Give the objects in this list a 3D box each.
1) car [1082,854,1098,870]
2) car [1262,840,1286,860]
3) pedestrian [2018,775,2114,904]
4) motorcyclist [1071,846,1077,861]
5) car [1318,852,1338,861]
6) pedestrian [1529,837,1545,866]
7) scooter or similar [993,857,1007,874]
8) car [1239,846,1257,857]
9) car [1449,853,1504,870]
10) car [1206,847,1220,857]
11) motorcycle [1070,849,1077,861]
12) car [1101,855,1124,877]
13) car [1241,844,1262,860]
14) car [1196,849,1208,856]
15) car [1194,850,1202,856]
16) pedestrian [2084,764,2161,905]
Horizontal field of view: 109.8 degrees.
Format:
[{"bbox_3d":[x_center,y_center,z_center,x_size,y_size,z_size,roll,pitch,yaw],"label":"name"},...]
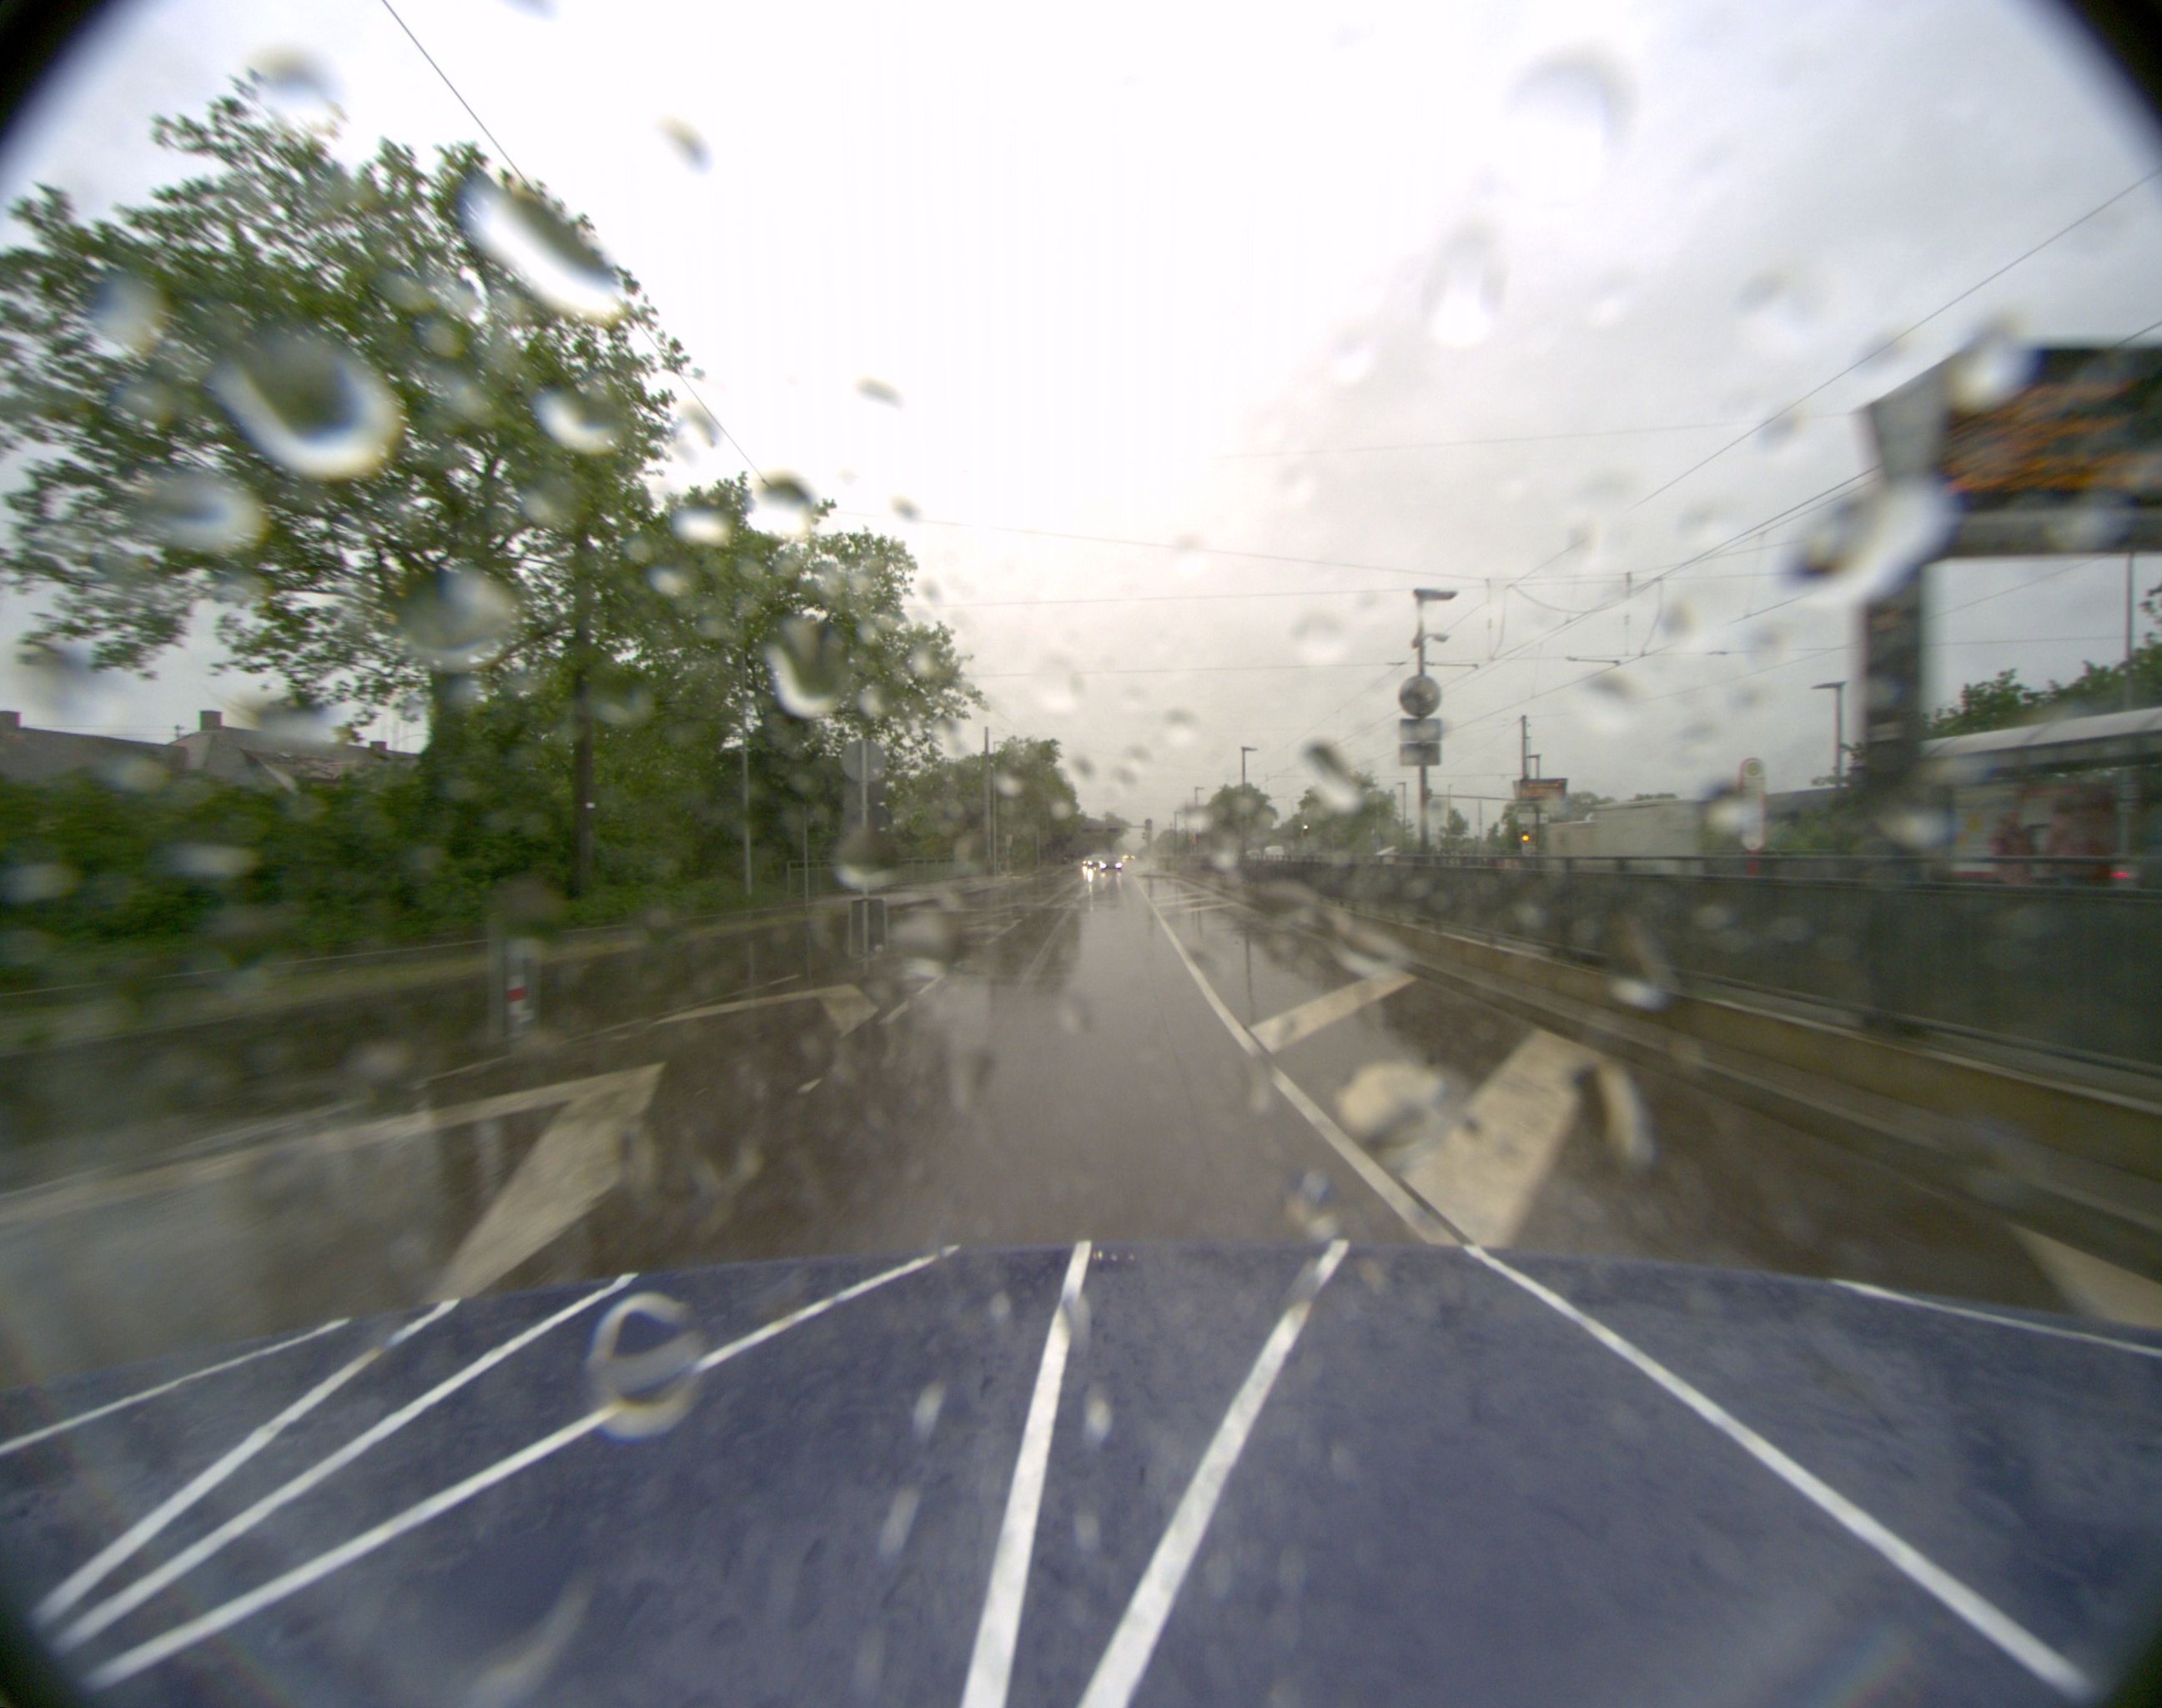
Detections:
[{"bbox_3d":[1.192,1.067,104.223,1.999,2.002,3.999,-1,0,-1],"label":"car"},{"bbox_3d":[27.053,-0.594,106.508,2.124,2.697,5.739,-2,0,3],"label":"car"},{"bbox_3d":[31.793,-0.471,24.563,1.172,4.006,1.518,-2,1,-8],"label":"pedestrian"},{"bbox_3d":[-1.105,-0.116,115.696,0.762,2.246,0.916,-1,1,4],"label":"motorcyclist"},{"bbox_3d":[53.595,0.554,164.922,4.548,1.671,1.994,-2,1,-40],"label":"car"},{"bbox_3d":[31.984,-0.175,53.275,0.700,2.002,0.697,-1,1,4],"label":"pedestrian"},{"bbox_3d":[-6.329,0.907,59.382,0.761,1.285,1.647,-1,1,6],"label":"scooter or similar"},{"bbox_3d":[27.365,-0.348,124.610,1.998,1.697,4.626,-2,0,3],"label":"car"},{"bbox_3d":[39.568,0.743,76.114,4.368,1.434,2.001,2,0,9],"label":"car"},{"bbox_3d":[25.526,-0.377,147.026,1.998,1.761,4.258,-2,0,3],"label":"car"},{"bbox_3d":[-1.089,0.181,115.692,0.845,1.710,2.586,-2,0,3],"label":"motorcycle"},{"bbox_3d":[3.003,1.093,71.624,1.998,2.002,4.001,-1,0,4],"label":"car"},{"bbox_3d":[22.786,-0.276,101.734,1.998,2.002,4.754,-2,0,3],"label":"car"},{"bbox_3d":[26.531,-0.342,166.549,1.998,1.586,4.382,3,0,4],"label":"car"},{"bbox_3d":[31.256,-0.215,203.122,1.605,1.580,3.619,-1,1,4],"label":"car"},{"bbox_3d":[30.841,-0.567,22.325,1.169,4.006,1.522,-1,1,31],"label":"pedestrian"}]
